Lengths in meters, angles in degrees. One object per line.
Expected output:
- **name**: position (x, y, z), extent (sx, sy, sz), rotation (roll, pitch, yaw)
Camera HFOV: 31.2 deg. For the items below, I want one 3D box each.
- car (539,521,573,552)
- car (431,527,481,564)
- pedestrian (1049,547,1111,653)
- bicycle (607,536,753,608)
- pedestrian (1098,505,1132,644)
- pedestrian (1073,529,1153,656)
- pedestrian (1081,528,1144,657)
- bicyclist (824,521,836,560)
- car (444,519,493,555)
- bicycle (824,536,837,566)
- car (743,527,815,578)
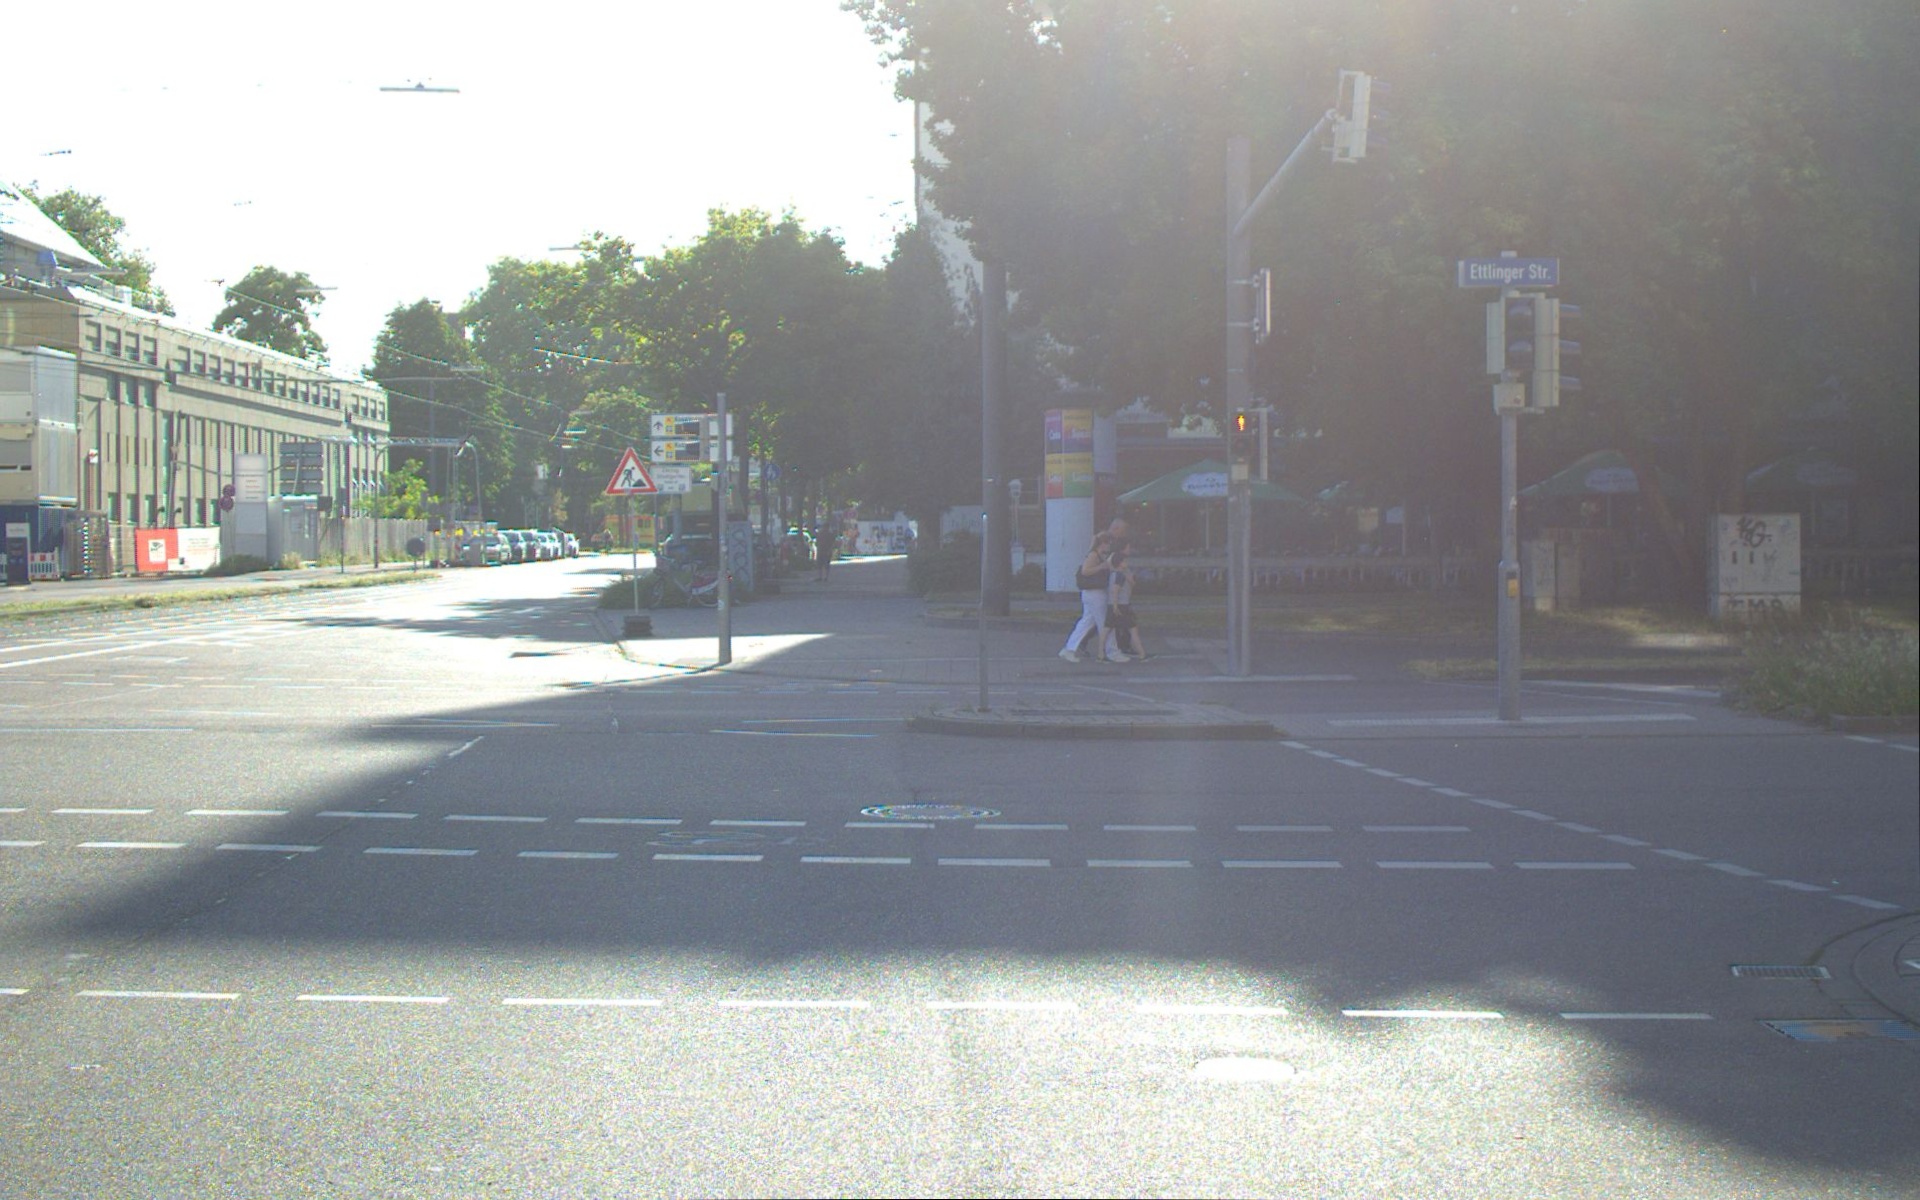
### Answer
- **car**: position (-22.839, -3.602, 194.626), extent (1.483, 1.744, 4.000), rotation (-1, 1, -1)
- **car**: position (-22.825, -2.468, 155.880), extent (1.731, 1.647, 4.000), rotation (0, 1, -1)
- **pedestrian**: position (1.517, -0.003, 43.603), extent (0.752, 1.328, 0.742), rotation (0, 1, 0)
- **bicycle**: position (-5.471, -0.555, 67.148), extent (2.748, 1.363, 0.630), rotation (1, 0, 11)
- **pedestrian**: position (2.019, -0.334, 44.870), extent (0.361, 1.798, 0.506), rotation (0, 1, 11)
- **pedestrian**: position (1.928, -0.092, 43.373), extent (0.984, 1.582, 0.660), rotation (0, 0, 1)
- **pedestrian**: position (1.961, -0.100, 44.286), extent (0.795, 1.634, 0.533), rotation (0, 1, 2)
- **bicyclist**: position (-3.725, -1.700, 98.387), extent (0.318, 1.123, 0.291), rotation (0, 1, 2)
- **car**: position (-22.862, -2.917, 160.110), extent (1.731, 1.647, 4.000), rotation (0, 1, -1)
- **bicycle**: position (-3.703, -1.403, 98.576), extent (0.324, 0.865, 1.483), rotation (-1, 1, -1)
- **car**: position (-4.694, -1.252, 89.529), extent (1.819, 1.274, 4.001), rotation (0, 1, -3)
